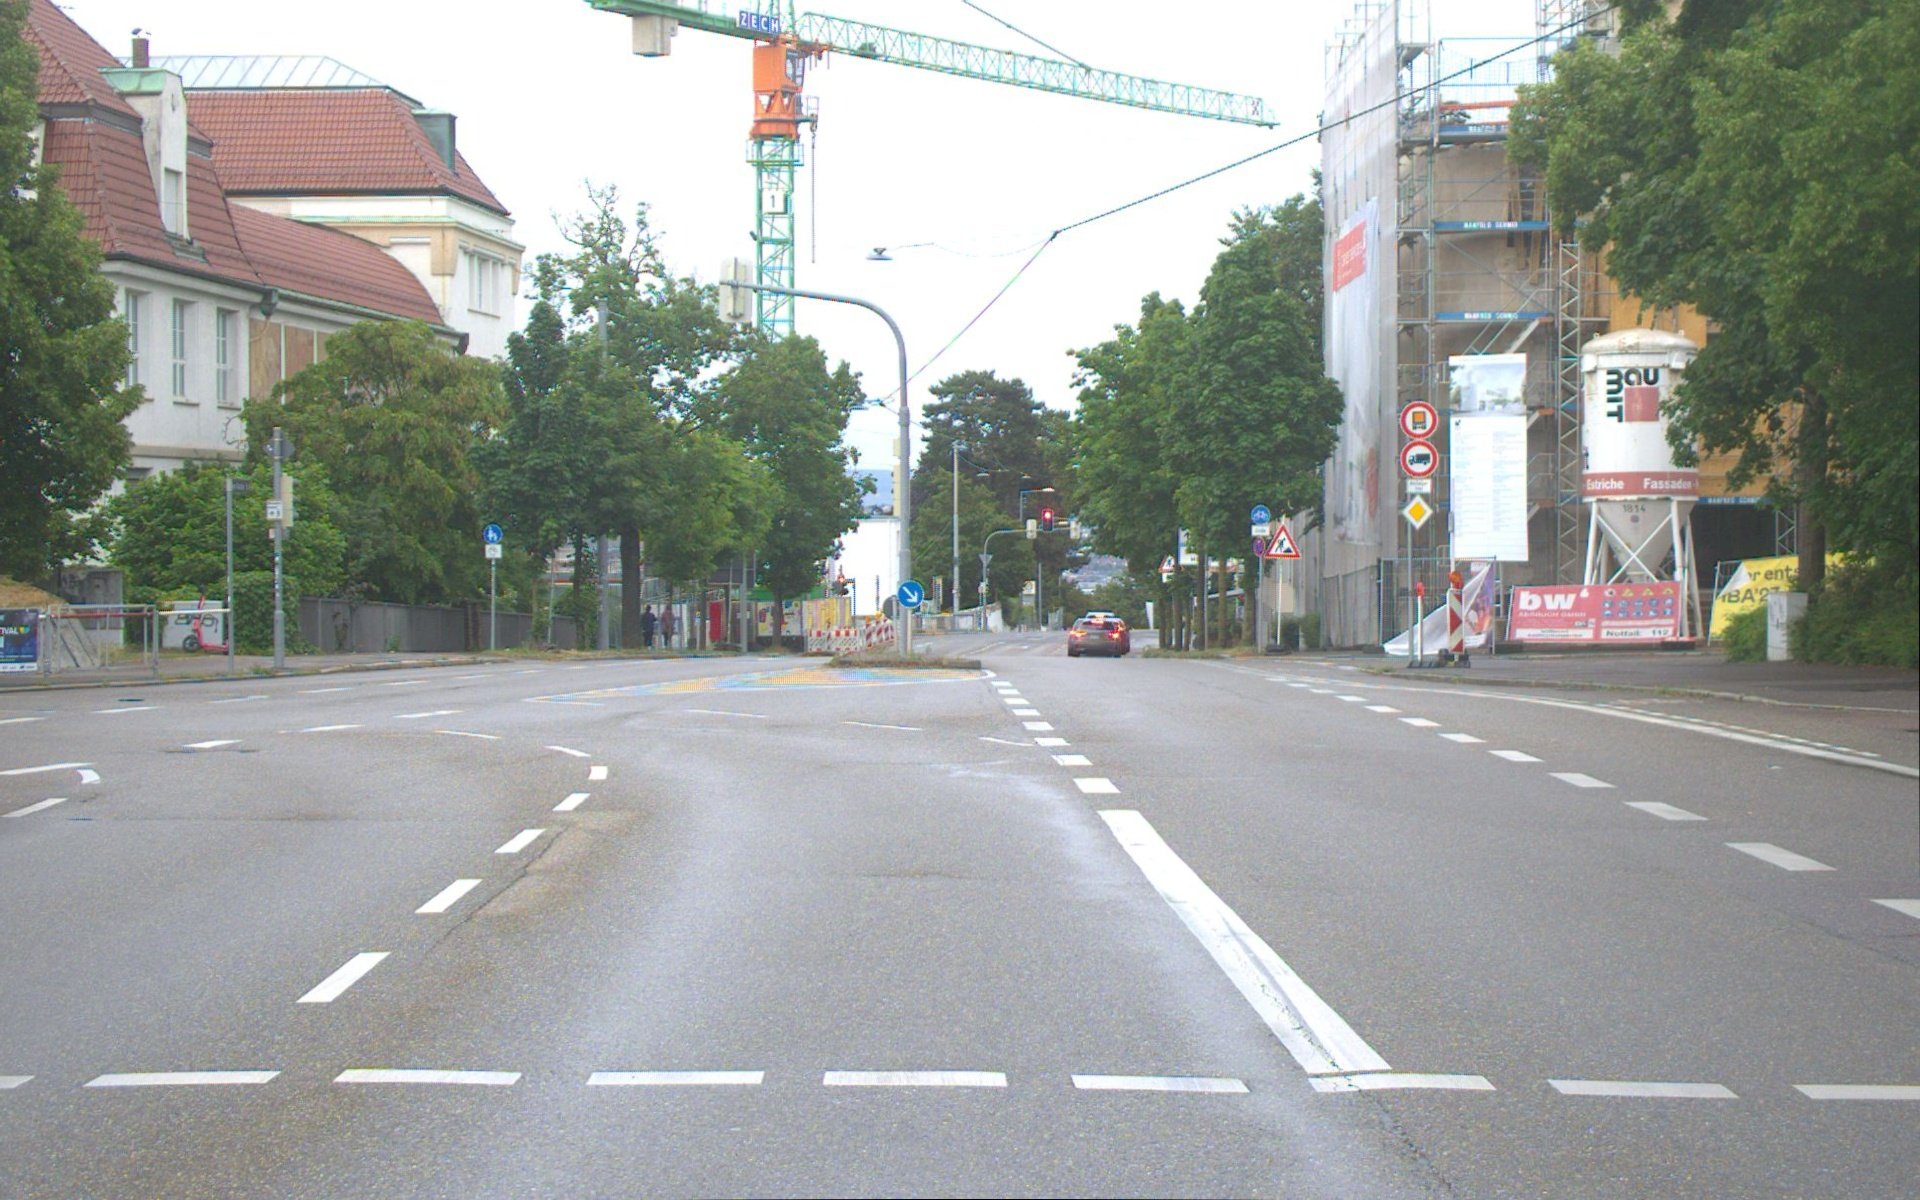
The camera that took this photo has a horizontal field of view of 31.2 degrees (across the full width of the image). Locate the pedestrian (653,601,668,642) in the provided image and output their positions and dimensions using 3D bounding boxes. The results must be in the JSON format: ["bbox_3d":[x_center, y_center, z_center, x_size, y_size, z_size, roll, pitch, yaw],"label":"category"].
[{"bbox_3d":[-10.291,0.723,118.036,0.474,1.392,0.411,0,1,-1],"label":"pedestrian"}]

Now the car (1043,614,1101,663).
[{"bbox_3d":[4.245,1.459,130.721,1.993,1.744,4.000,-1,1,-1],"label":"car"}]

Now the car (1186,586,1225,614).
[{"bbox_3d":[15.660,-0.017,219.330,1.994,1.744,3.998,-1,1,11],"label":"car"}]

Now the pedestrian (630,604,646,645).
[{"bbox_3d":[-11.069,0.838,118.156,0.474,1.391,0.411,-1,1,-1],"label":"pedestrian"}]

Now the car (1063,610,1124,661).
[{"bbox_3d":[4.836,1.288,125.093,1.993,1.744,4.000,-1,1,-1],"label":"car"}]

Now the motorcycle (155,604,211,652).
[{"bbox_3d":[-14.623,0.520,64.699,0.849,0.874,0.877,1,0,-1],"label":"motorcycle"}]
